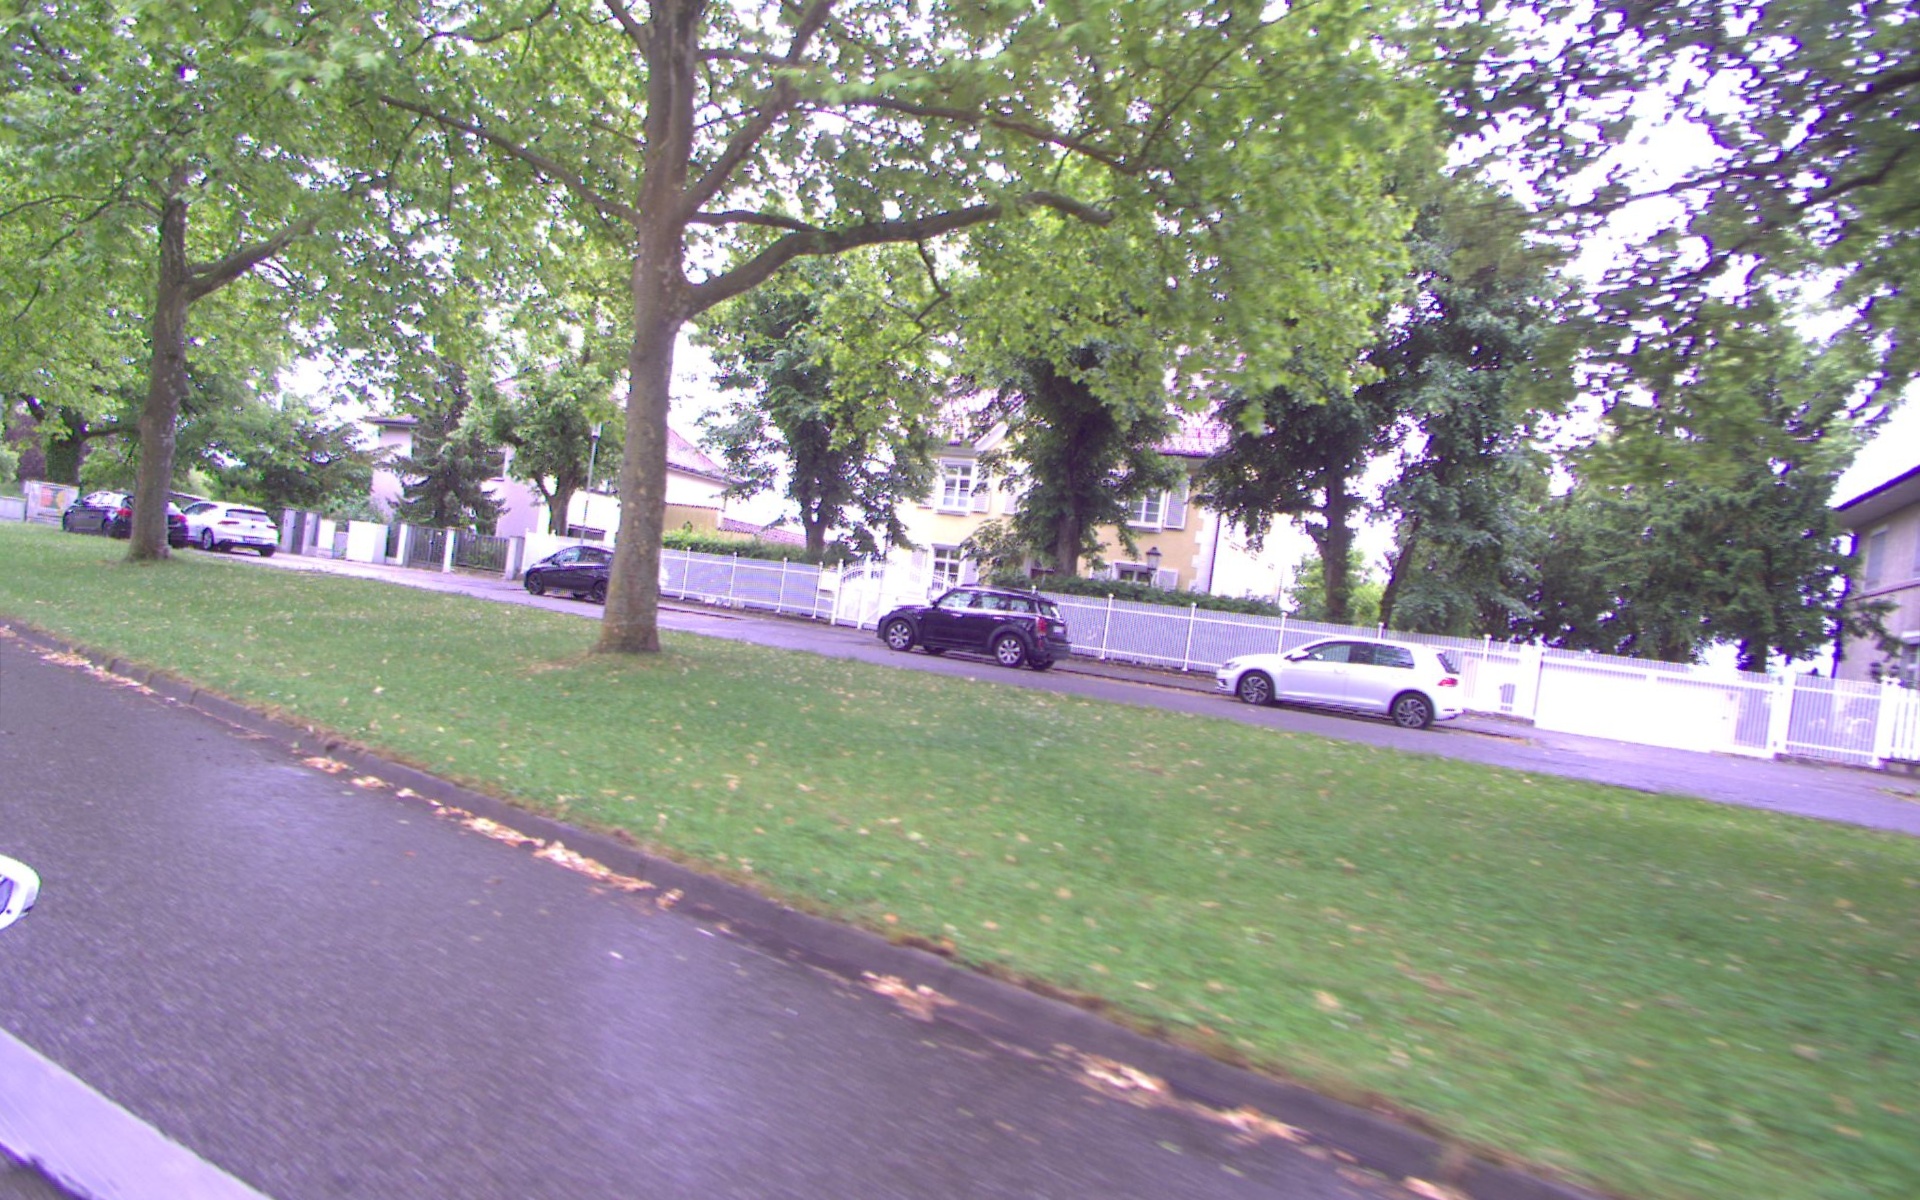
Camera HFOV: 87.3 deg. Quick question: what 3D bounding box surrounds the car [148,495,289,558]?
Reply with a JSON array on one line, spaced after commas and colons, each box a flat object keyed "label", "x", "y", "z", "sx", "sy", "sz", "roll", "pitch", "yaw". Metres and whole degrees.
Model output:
[{"label": "car", "x": -22.816, "y": -2.274, "z": 30.923, "sx": 4.351, "sy": 1.490, "sz": 1.847, "roll": 6, "pitch": 1, "yaw": 30}]

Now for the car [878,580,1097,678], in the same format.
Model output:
[{"label": "car", "x": 0.583, "y": 0.607, "z": 21.366, "sx": 4.053, "sy": 1.488, "sz": 1.999, "roll": 6, "pitch": -2, "yaw": 28}]

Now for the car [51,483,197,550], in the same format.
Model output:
[{"label": "car", "x": -23.873, "y": -2.385, "z": 28.687, "sx": 4.521, "sy": 1.490, "sz": 1.765, "roll": 6, "pitch": 1, "yaw": 31}]

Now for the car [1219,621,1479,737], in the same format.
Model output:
[{"label": "car", "x": 7.006, "y": 1.395, "z": 18.159, "sx": 4.053, "sy": 1.465, "sz": 1.999, "roll": 6, "pitch": -2, "yaw": 28}]

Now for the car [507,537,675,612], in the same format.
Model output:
[{"label": "car", "x": -10.002, "y": -0.703, "z": 27.224, "sx": 4.281, "sy": 1.488, "sz": 1.764, "roll": 6, "pitch": -1, "yaw": 28}]
